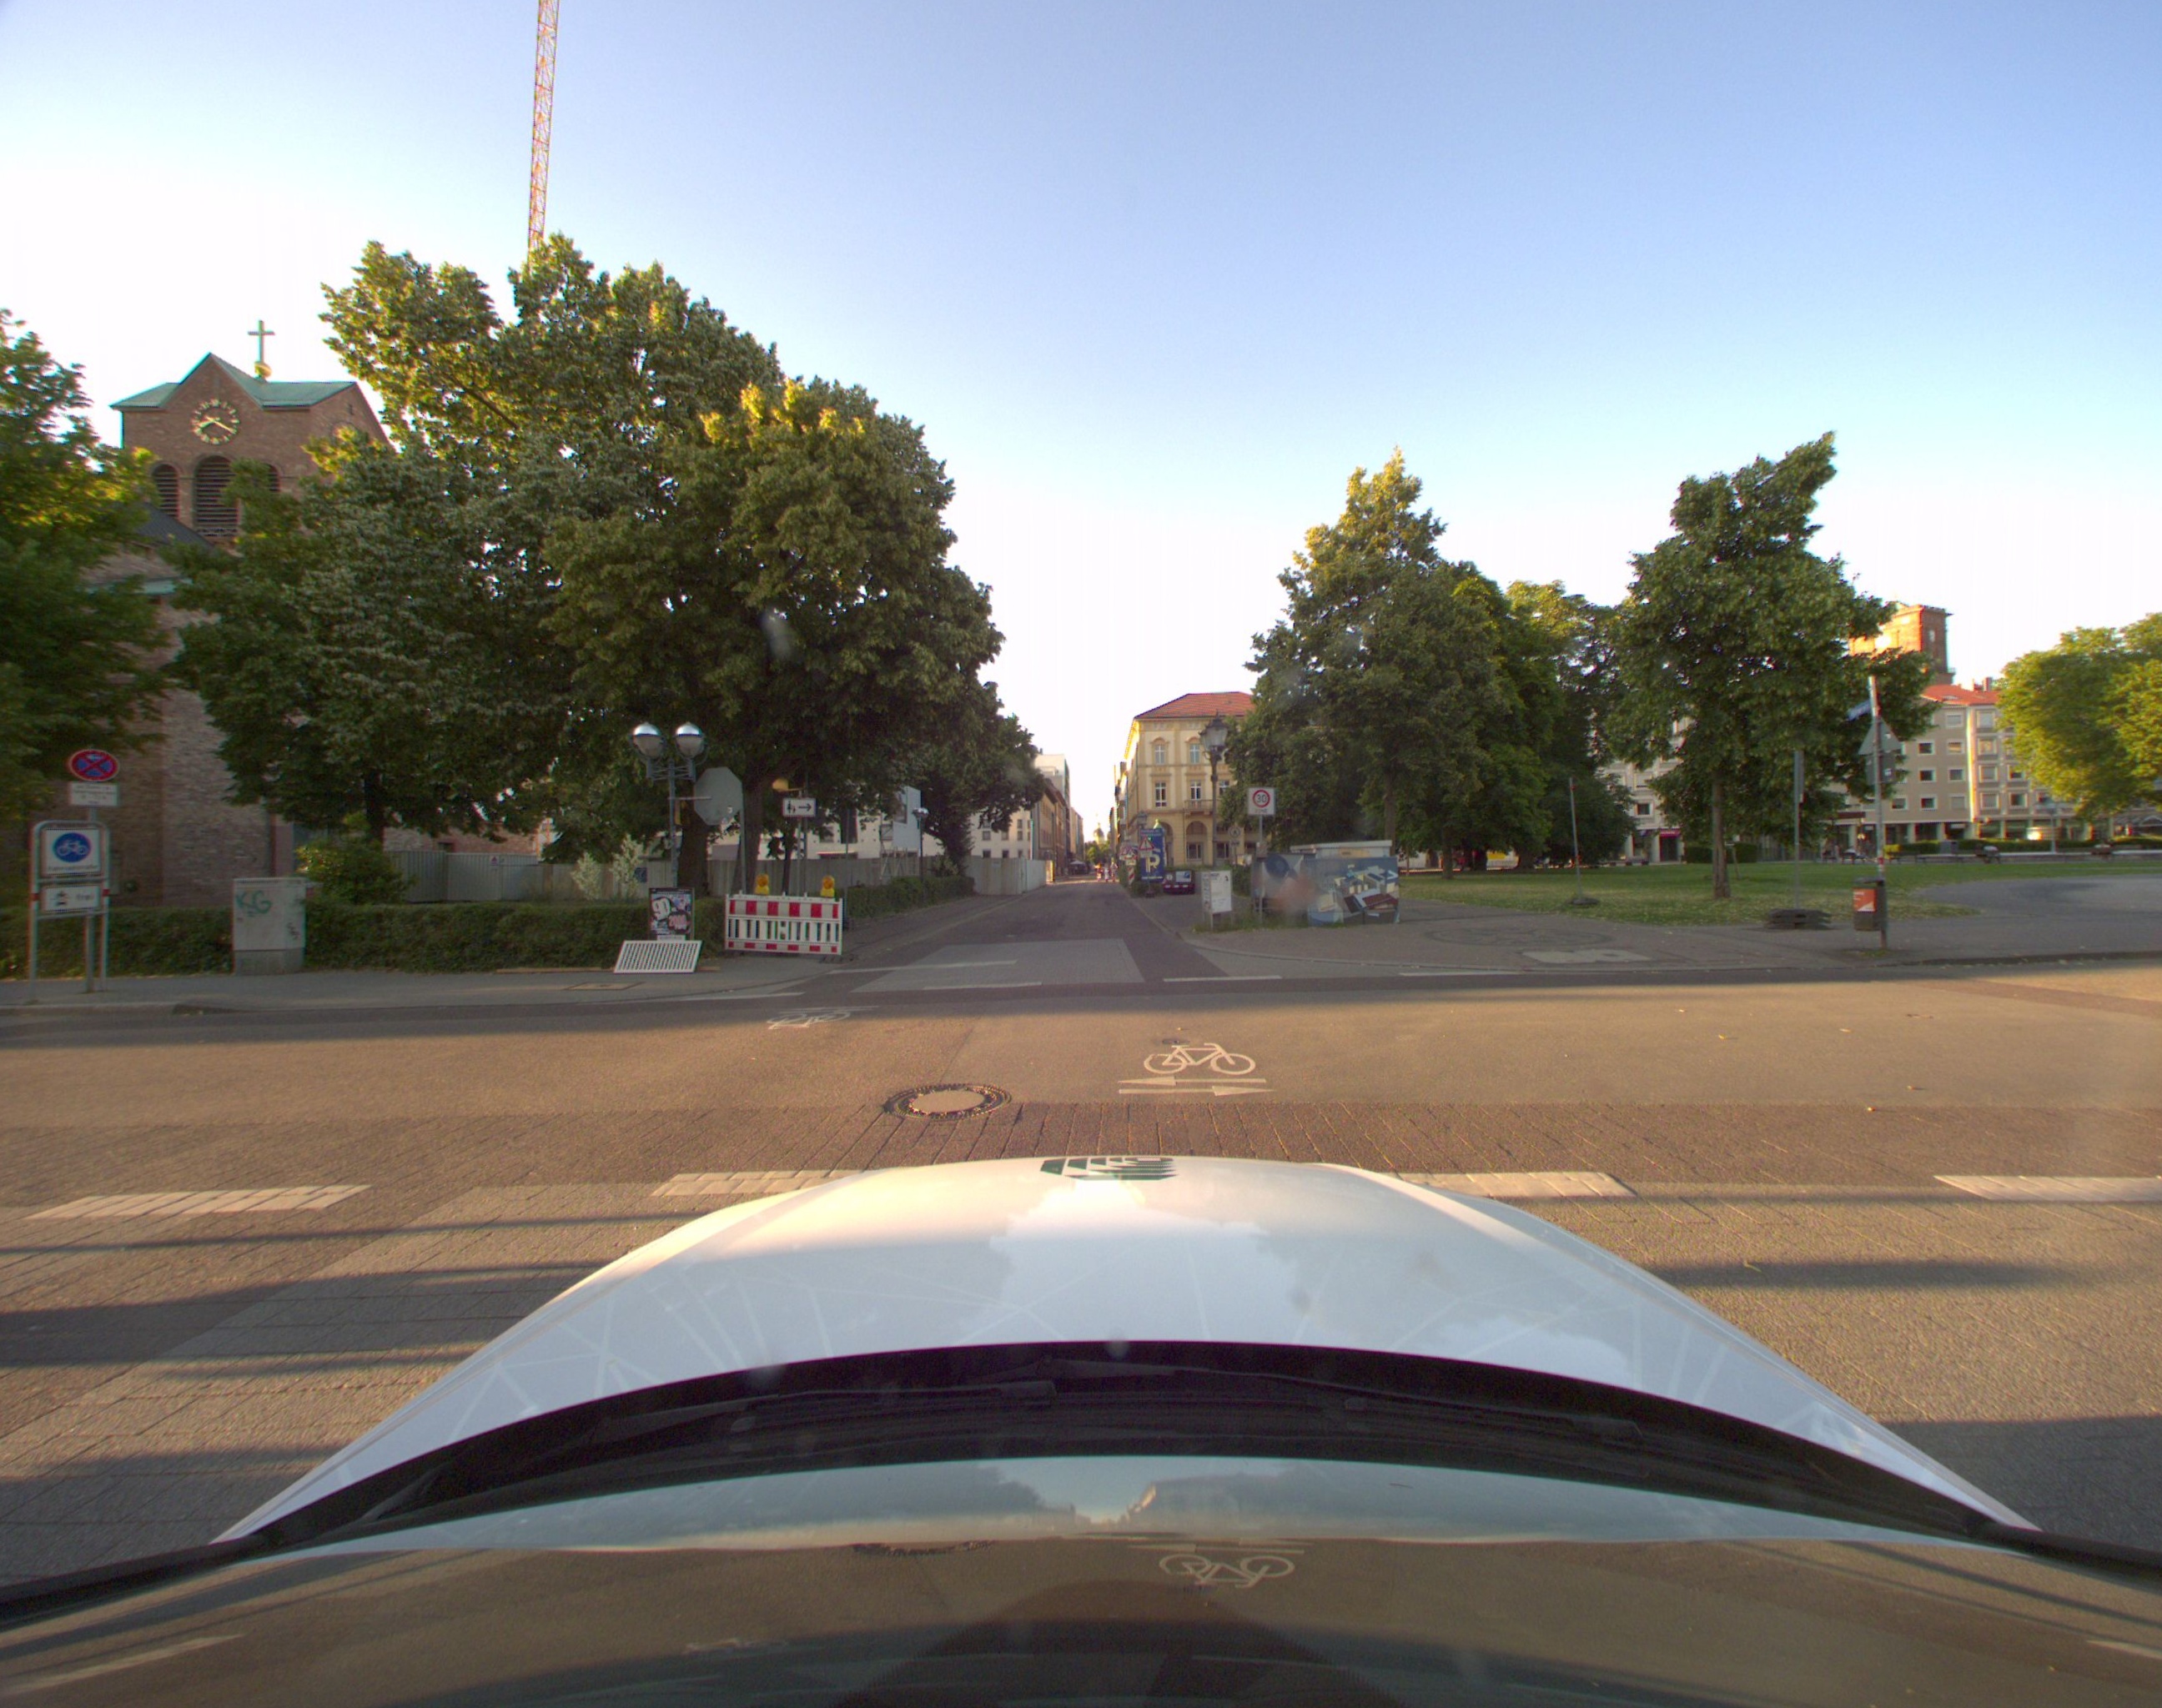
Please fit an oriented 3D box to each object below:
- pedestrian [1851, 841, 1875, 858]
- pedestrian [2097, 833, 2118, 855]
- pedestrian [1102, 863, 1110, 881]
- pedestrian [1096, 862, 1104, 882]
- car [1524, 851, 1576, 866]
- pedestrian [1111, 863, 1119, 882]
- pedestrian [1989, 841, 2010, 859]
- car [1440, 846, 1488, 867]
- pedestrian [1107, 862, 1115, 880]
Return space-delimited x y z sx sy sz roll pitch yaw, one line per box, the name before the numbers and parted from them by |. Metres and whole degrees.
pedestrian | 50.092 -0.291 52.195 0.889 1.077 0.624 -3 -1 18
pedestrian | 52.052 -0.507 41.317 0.514 1.077 0.614 -1 -1 -39
pedestrian | 2.215 1.615 72.455 0.655 1.617 0.745 -2 -1 1
pedestrian | 1.675 1.623 73.528 0.655 1.760 0.745 -2 -1 1
car | 42.150 0.380 73.193 3.568 1.240 1.996 -2 -1 -6
pedestrian | 3.050 1.637 72.352 0.655 1.617 0.745 -2 -1 1
pedestrian | 50.382 -0.206 44.670 0.512 0.925 0.616 -2 -1 -24
car | 39.845 0.302 84.868 4.016 2.014 2.001 -2 -1 2
pedestrian | 2.686 1.513 73.434 0.655 1.636 0.745 -2 -1 1
